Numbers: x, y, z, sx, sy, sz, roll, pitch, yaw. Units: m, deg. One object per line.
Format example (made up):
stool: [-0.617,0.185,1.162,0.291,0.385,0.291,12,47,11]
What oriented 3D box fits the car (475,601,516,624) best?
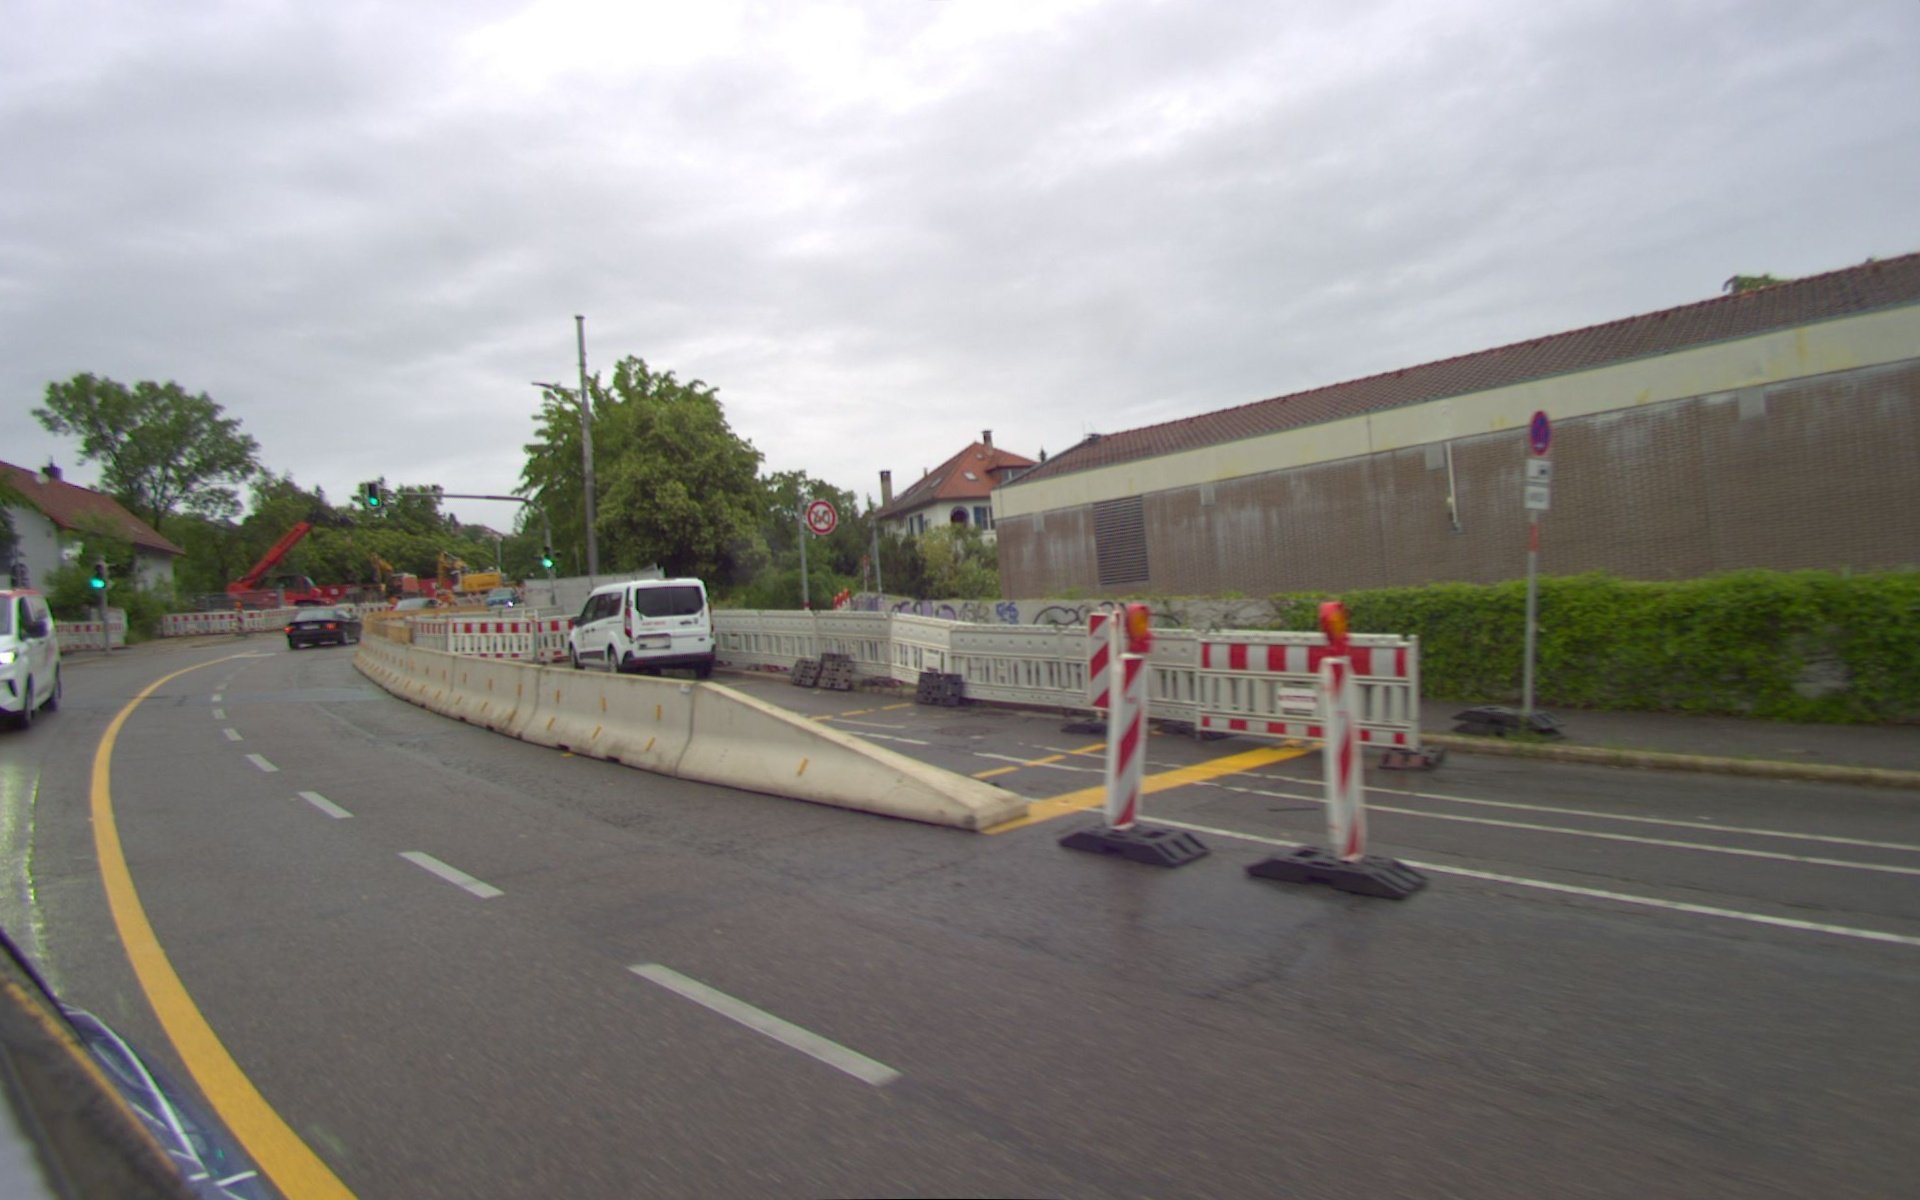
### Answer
car: [-31.988,0.802,69.827,1.956,1.470,4.529,-1,1,-17]

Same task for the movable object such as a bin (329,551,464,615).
movable object such as a bin: [-50.157,-1.422,90.922,5.179,5.237,13.542,-1,0,-3]

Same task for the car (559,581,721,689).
car: [-6.279,0.636,19.505,1.781,1.814,4.475,-1,-1,-34]

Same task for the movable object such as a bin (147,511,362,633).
movable object such as a bin: [-41.181,-1.561,59.818,8.900,6.601,7.060,-1,0,-20]

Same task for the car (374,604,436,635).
car: [-29.579,1.008,54.076,1.956,1.470,4.529,-1,1,-17]

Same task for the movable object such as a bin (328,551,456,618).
movable object such as a bin: [-44.829,-1.231,80.105,8.193,5.092,3.331,-1,0,-9]

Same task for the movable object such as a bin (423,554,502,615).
movable object such as a bin: [-43.486,-1.277,88.295,3.275,5.040,9.861,-1,0,-44]

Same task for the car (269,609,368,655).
car: [-22.666,1.076,35.955,1.956,1.447,4.529,-1,1,-19]

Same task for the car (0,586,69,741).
car: [-14.154,0.845,14.164,2.009,1.953,4.526,-1,0,-35]
